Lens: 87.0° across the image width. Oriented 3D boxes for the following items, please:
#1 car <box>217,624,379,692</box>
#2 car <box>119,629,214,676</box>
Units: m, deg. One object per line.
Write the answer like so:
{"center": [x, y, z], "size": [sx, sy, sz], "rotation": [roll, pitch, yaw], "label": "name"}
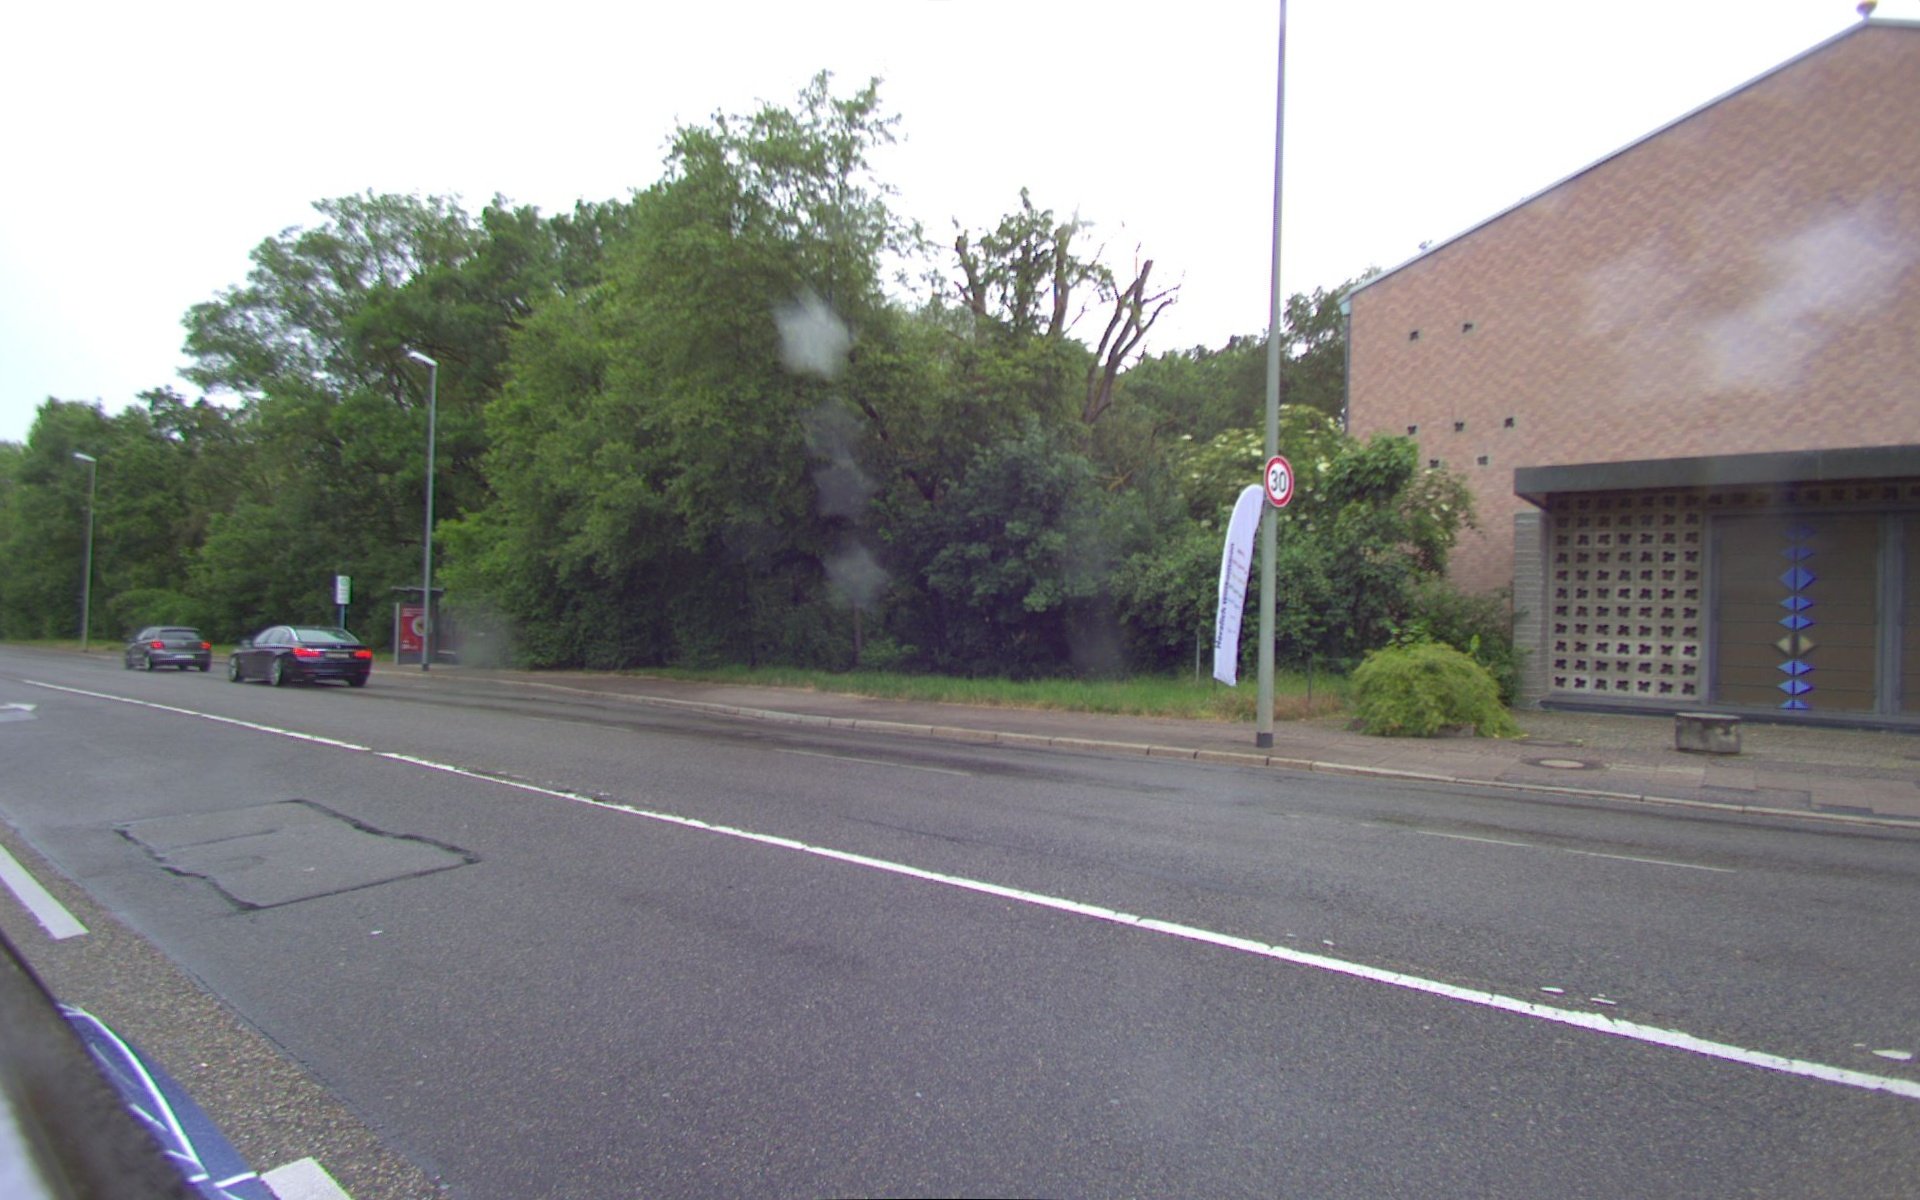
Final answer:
{"center": [-16.513, 1.407, 25.135], "size": [4.944, 1.465, 1.891], "rotation": [-1, -5, 40], "label": "car"}
{"center": [-26.001, 1.684, 33.126], "size": [3.901, 1.440, 1.578], "rotation": [-1, -3, 39], "label": "car"}
